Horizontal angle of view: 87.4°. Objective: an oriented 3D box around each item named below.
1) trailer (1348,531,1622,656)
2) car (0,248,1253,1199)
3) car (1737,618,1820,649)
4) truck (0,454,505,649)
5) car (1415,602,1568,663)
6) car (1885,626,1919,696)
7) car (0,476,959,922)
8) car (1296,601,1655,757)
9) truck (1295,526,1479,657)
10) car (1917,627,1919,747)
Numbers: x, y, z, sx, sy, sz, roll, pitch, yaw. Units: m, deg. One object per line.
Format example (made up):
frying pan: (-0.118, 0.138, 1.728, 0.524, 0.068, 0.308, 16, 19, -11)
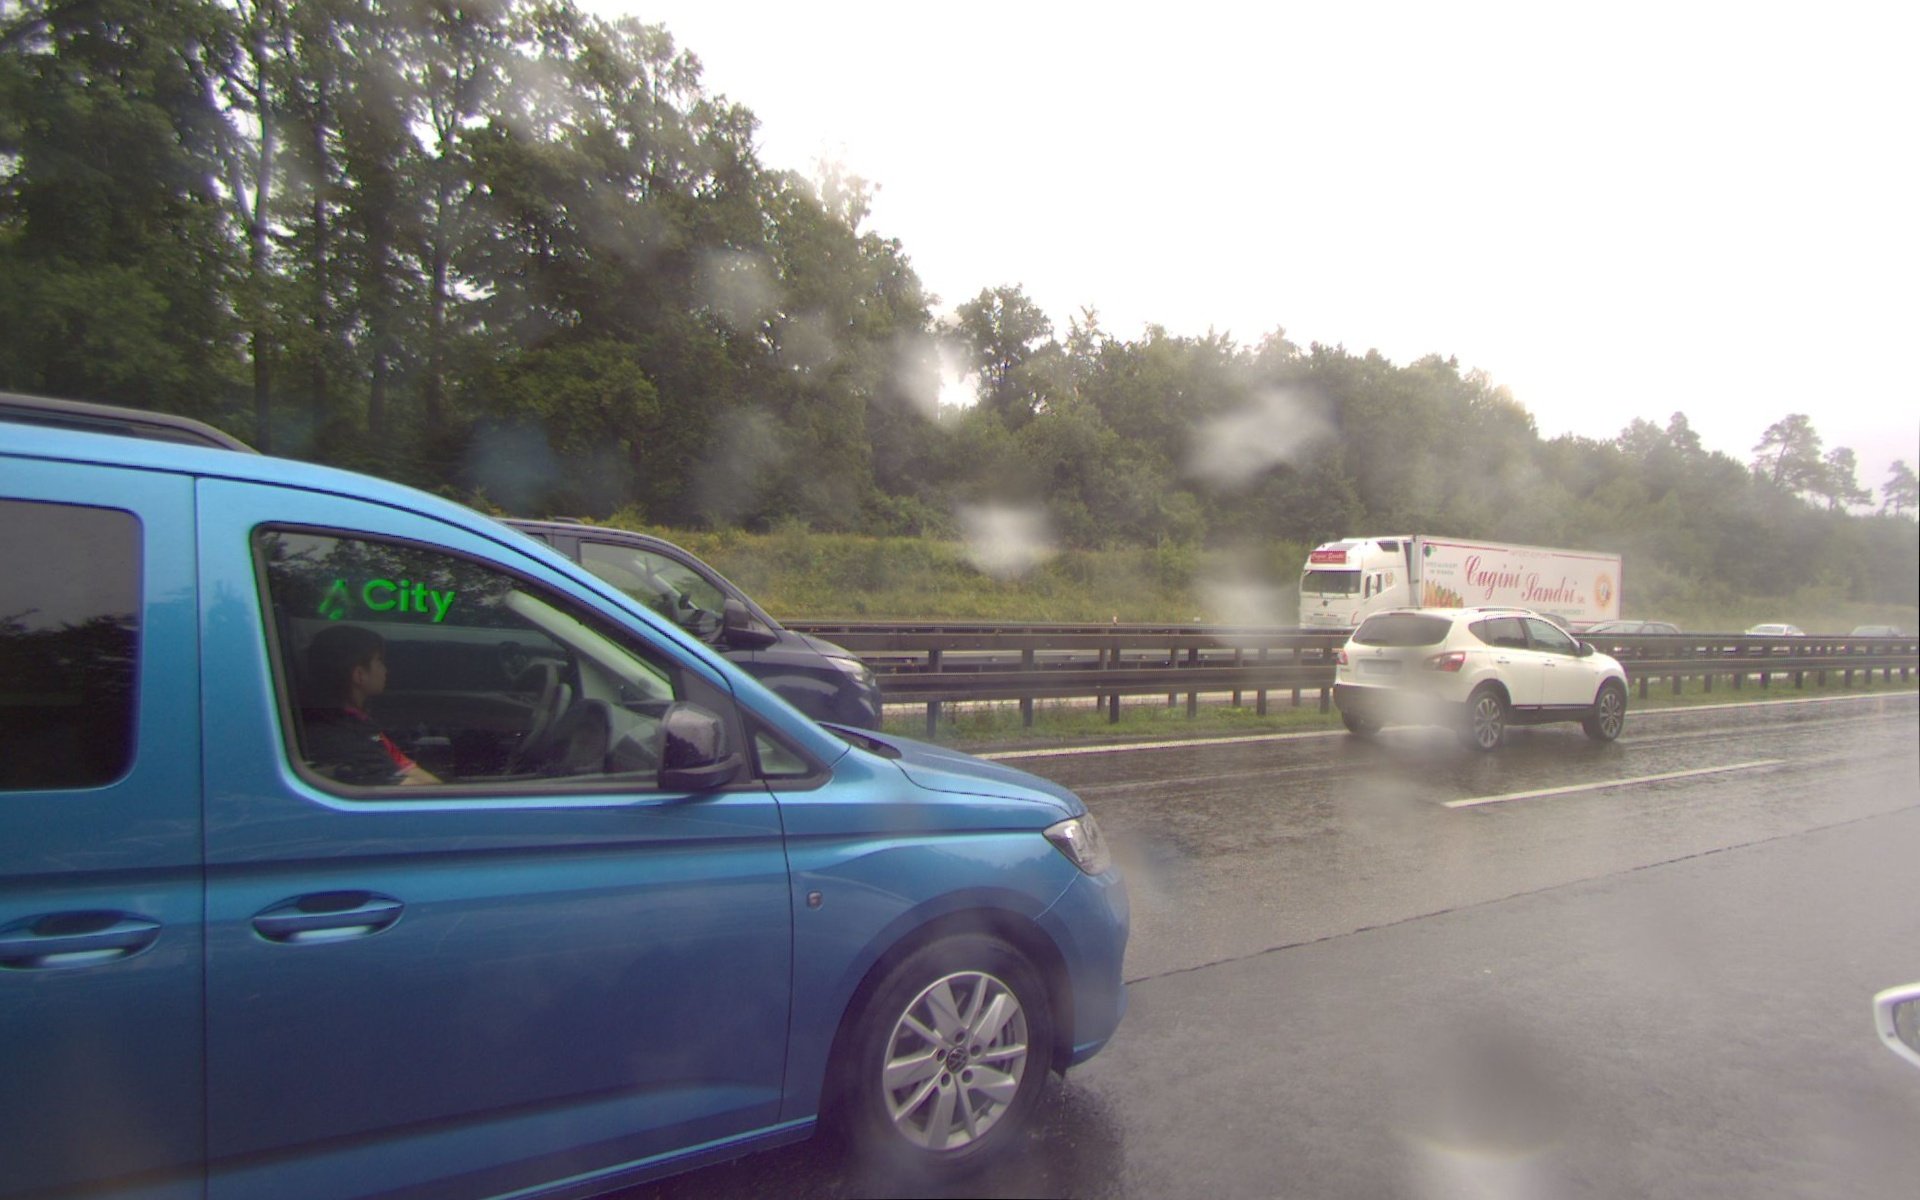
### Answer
trailer: (19.945, -0.068, 37.480, 13.698, 4.079, 2.526, 1, 0, -32)
car: (-1.825, 0.417, 2.686, 4.958, 1.937, 2.258, 1, 0, -31)
car: (42.368, 1.723, 51.987, 4.509, 1.514, 1.851, 1, 0, -30)
truck: (-15.816, -0.836, 20.636, 11.580, 3.530, 2.507, 1, 0, -30)
car: (16.079, 0.957, 30.350, 4.653, 1.700, 1.938, 1, 0, -30)
car: (24.424, 1.458, 24.233, 4.413, 1.613, 1.837, 1, 0, -30)
car: (-2.748, 0.480, 6.465, 5.181, 1.970, 1.982, 1, 0, -30)
car: (6.433, 0.861, 12.430, 4.413, 1.613, 1.837, 1, 0, -30)
truck: (14.460, -0.207, 33.892, 6.253, 4.079, 2.527, 1, 0, -32)
car: (15.002, 0.629, 13.205, 4.956, 2.607, 2.202, 1, 0, -30)
